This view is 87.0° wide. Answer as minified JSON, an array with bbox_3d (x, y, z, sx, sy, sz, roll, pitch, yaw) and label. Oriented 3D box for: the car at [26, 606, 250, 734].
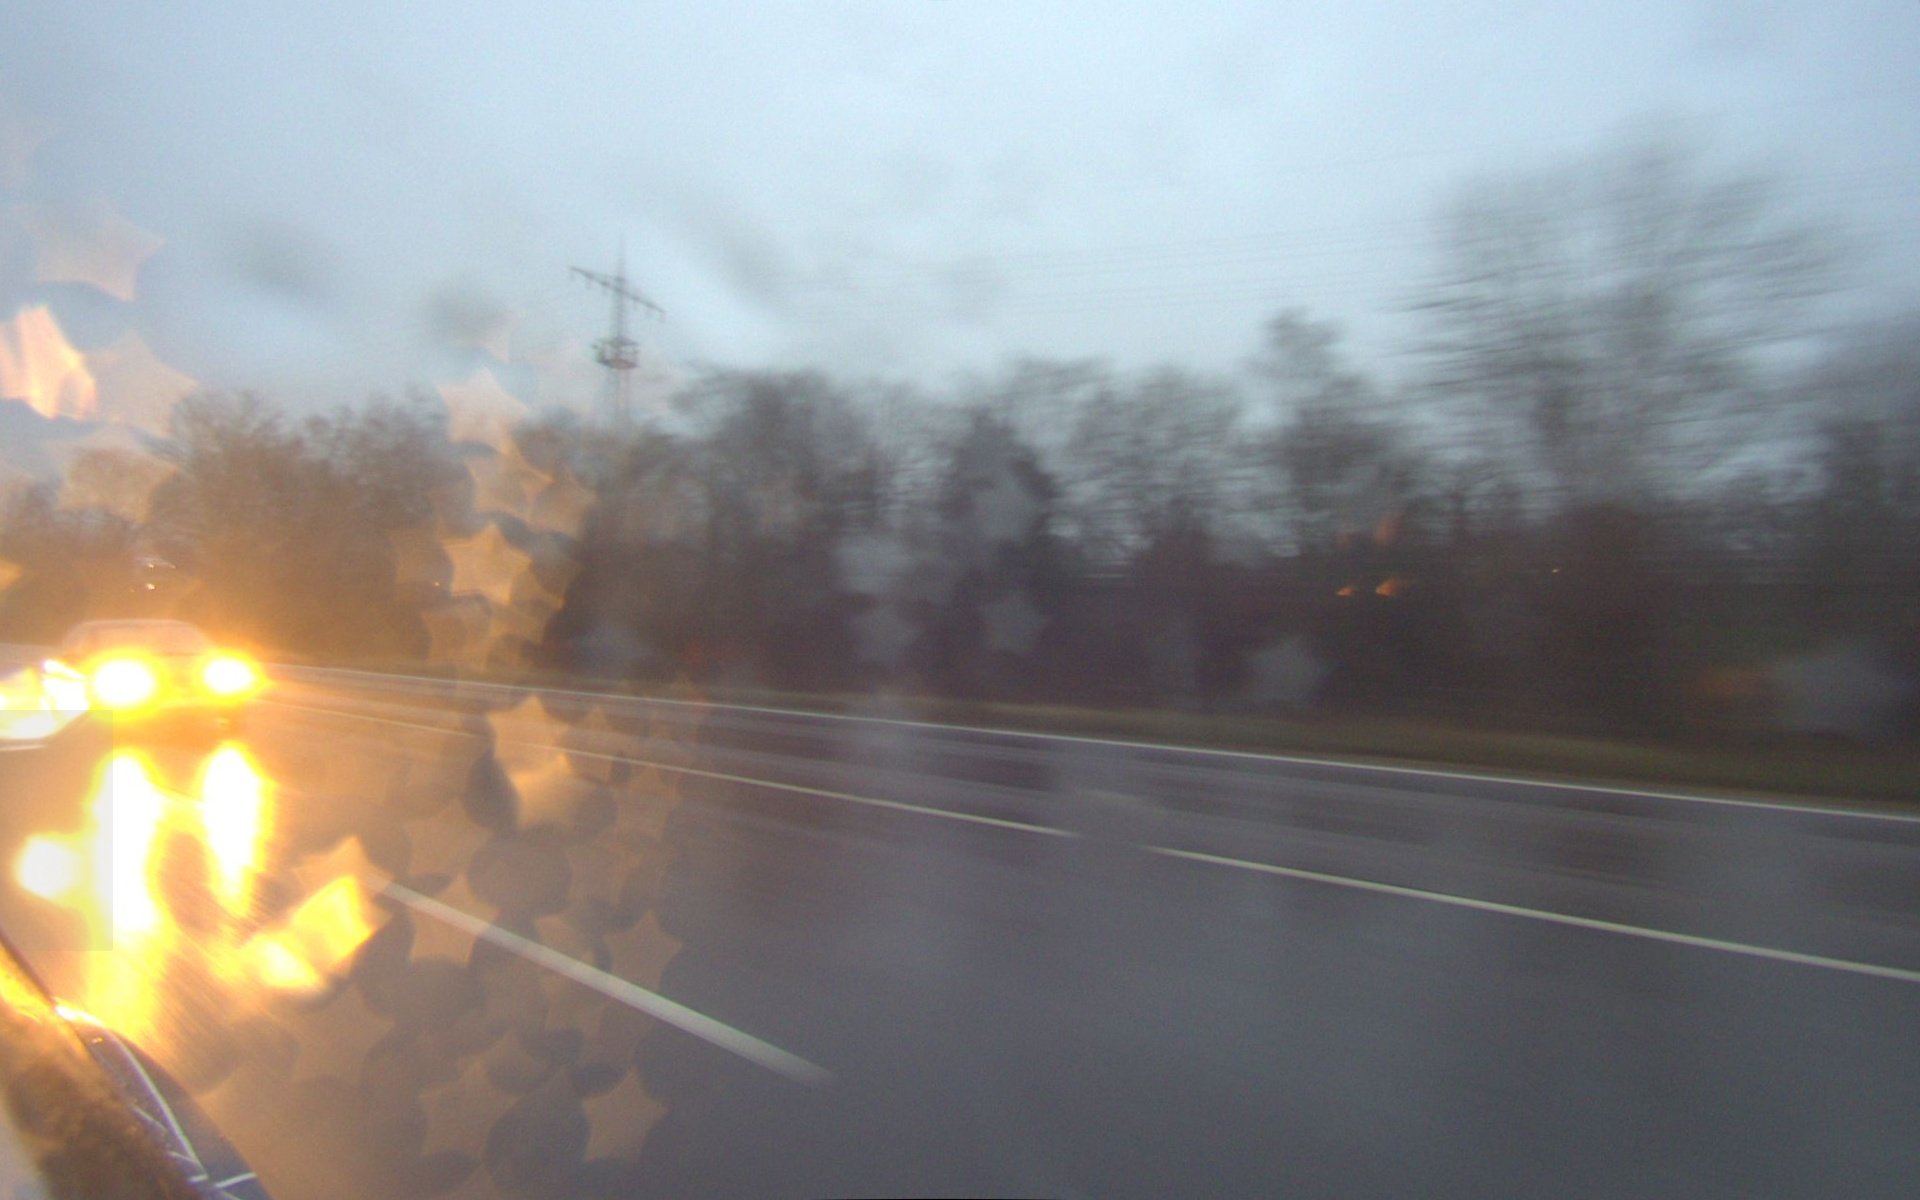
[{"bbox_3d":[-11.300,0.831,13.815,4.168,1.431,1.616,0,2,40],"label":"car"}]
